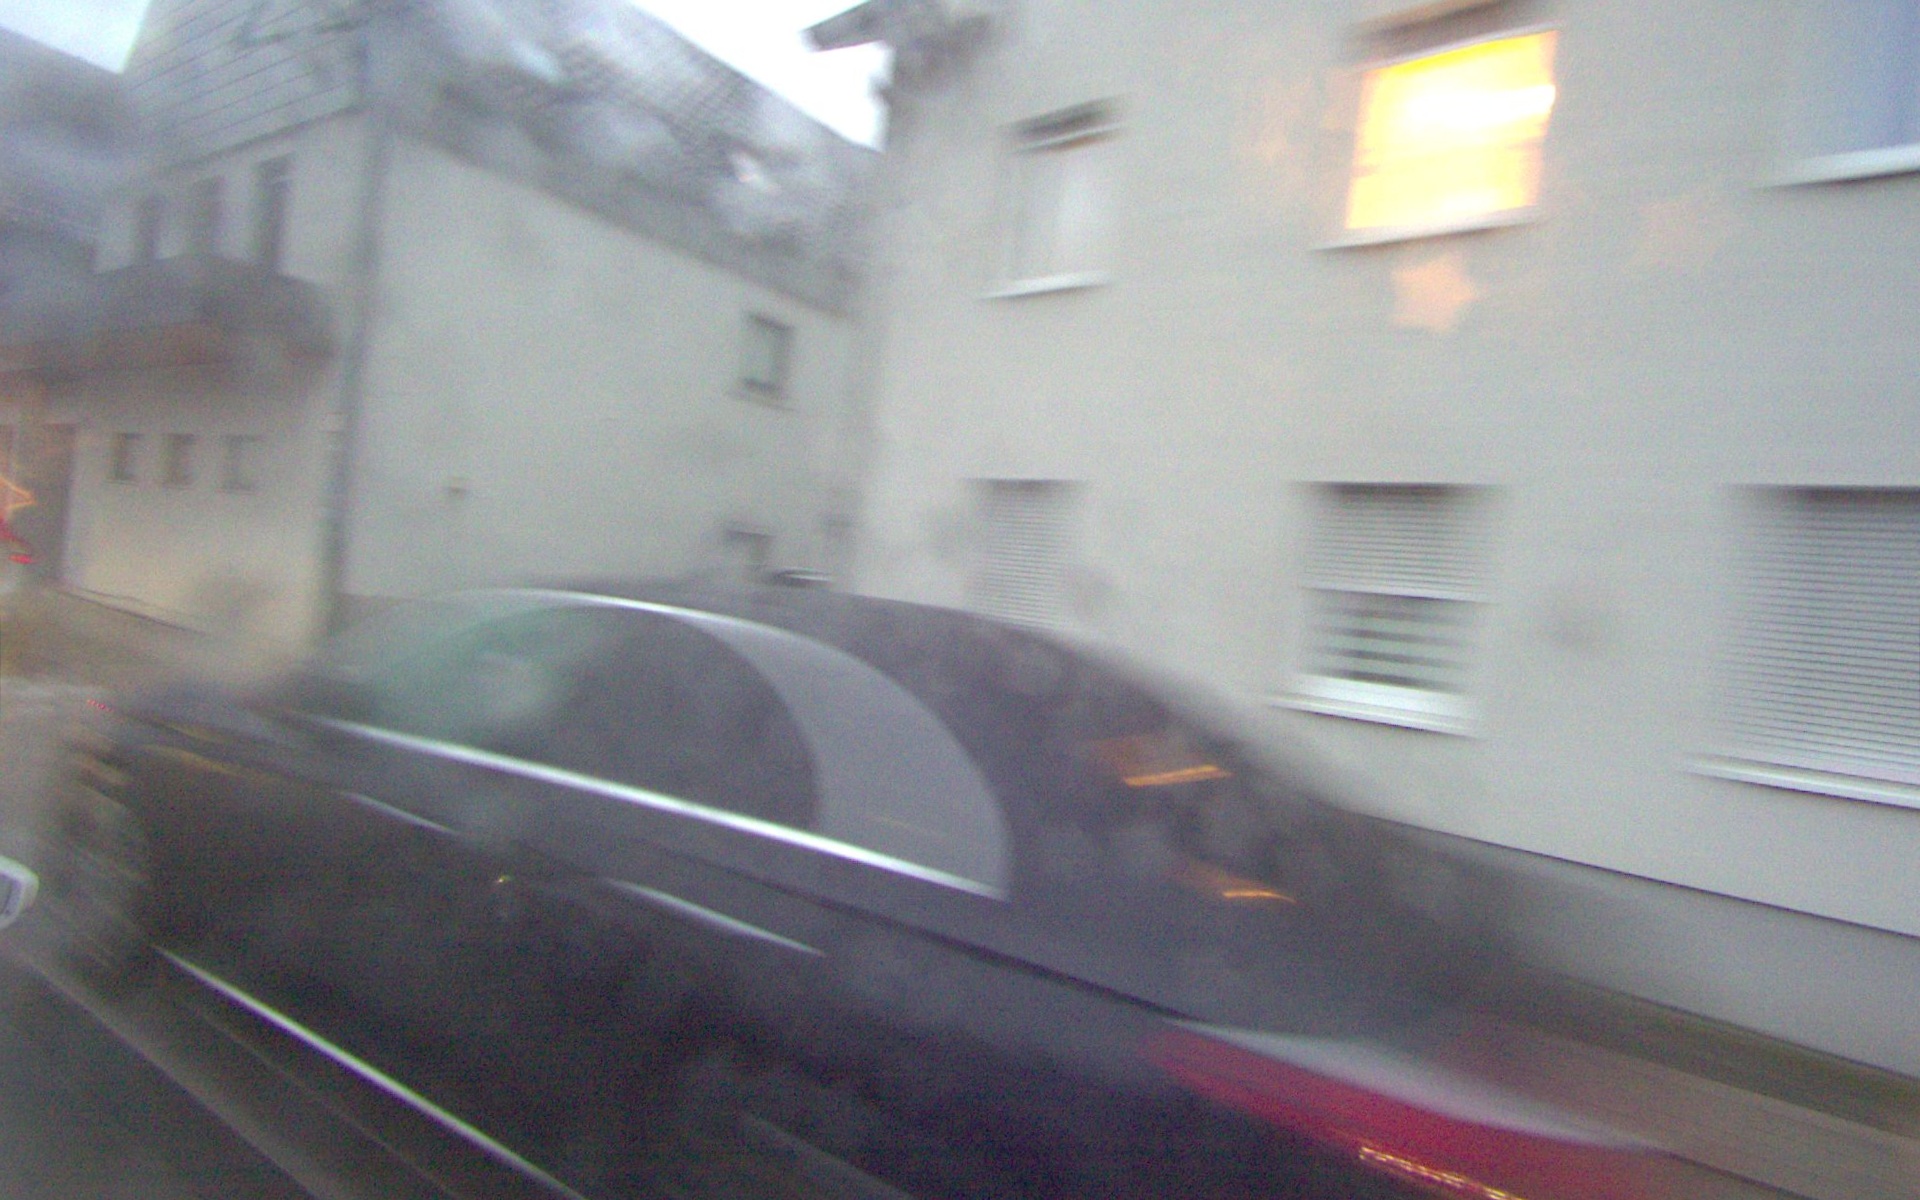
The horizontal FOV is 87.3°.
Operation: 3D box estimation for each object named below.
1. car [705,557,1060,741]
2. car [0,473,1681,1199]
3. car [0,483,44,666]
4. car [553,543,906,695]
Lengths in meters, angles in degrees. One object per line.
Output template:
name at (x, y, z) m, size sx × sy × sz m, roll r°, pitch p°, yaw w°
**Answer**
car at (-0.720, 0.555, 11.662) m, size 1.777 × 1.622 × 4.004 m, roll 7°, pitch 1°, yaw 37°
car at (-0.974, 0.677, 3.149) m, size 4.924 × 1.550 × 1.962 m, roll 7°, pitch -2°, yaw 30°
car at (-9.799, -0.425, 8.755) m, size 4.168 × 1.474 × 1.652 m, roll 7°, pitch 2°, yaw 33°
car at (-2.824, 0.322, 13.122) m, size 1.836 × 1.575 × 4.143 m, roll 7°, pitch 0°, yaw 39°
